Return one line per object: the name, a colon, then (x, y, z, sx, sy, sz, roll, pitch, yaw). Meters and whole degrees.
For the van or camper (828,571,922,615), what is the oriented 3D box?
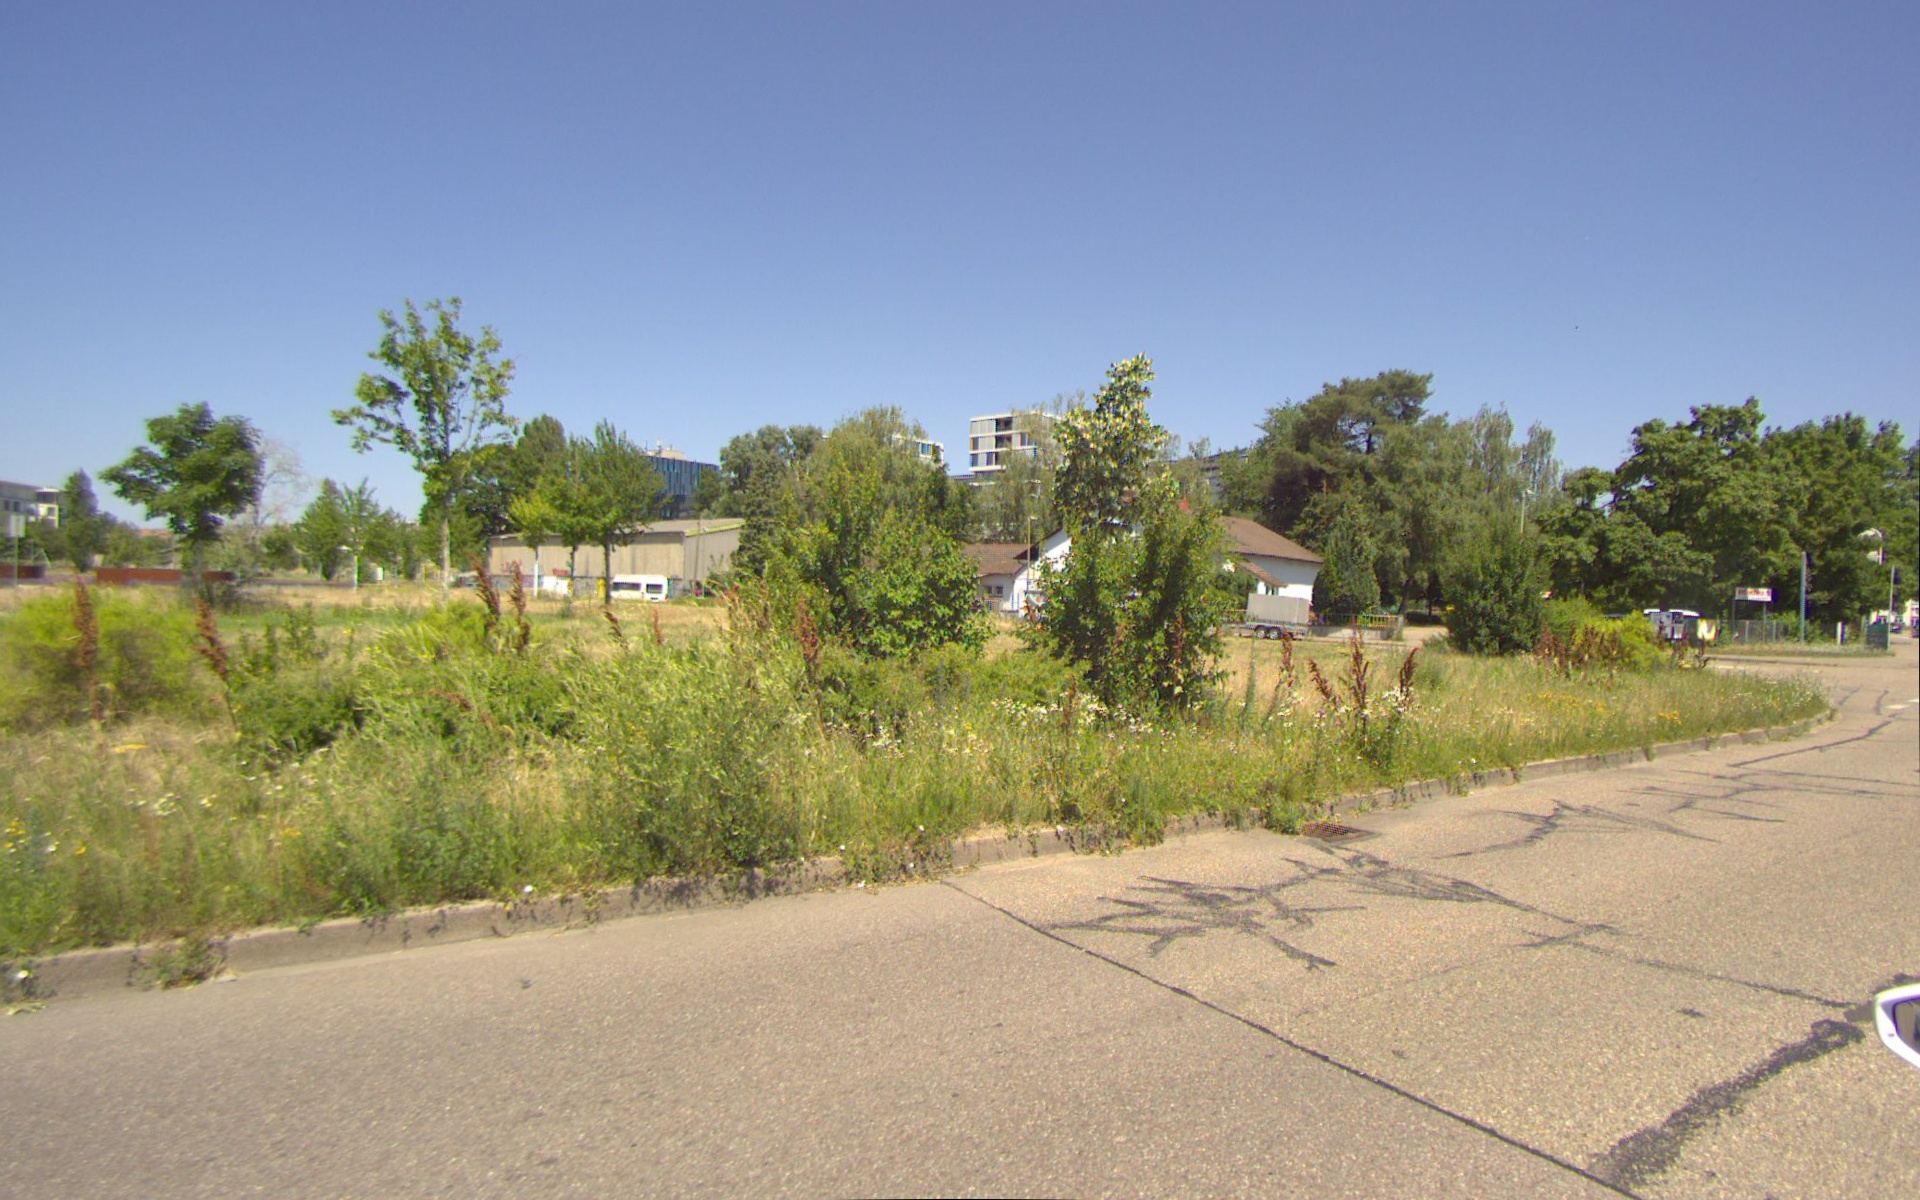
van or camper: (-5.453, -0.456, 63.849, 5.879, 2.628, 2.460, 2, 0, 40)

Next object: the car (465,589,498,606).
car: (-47.704, -0.246, 100.186, 3.524, 1.618, 1.585, 2, 0, 38)

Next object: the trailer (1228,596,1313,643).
trailer: (14.632, 0.887, 47.344, 3.375, 2.073, 1.751, 2, 0, 42)

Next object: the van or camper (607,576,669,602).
van or camper: (-25.807, -0.908, 80.504, 4.980, 1.905, 2.349, 2, 0, 38)

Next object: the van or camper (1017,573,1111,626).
van or camper: (5.616, -0.043, 54.527, 4.401, 2.626, 2.480, 4, 2, 41)

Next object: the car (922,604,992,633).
car: (-0.180, 1.094, 59.626, 3.944, 1.573, 1.904, 2, 0, 44)

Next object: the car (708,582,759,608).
car: (-16.565, -0.348, 73.402, 3.524, 1.795, 1.750, 2, 0, 38)

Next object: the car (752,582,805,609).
car: (-12.638, -0.314, 69.819, 3.524, 1.795, 1.750, 2, 0, 38)

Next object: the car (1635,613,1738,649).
car: (34.855, 1.466, 48.242, 3.820, 1.546, 1.799, 1, 0, 43)

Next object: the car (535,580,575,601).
car: (-36.159, -0.839, 89.661, 3.524, 1.795, 1.750, 2, 0, 38)

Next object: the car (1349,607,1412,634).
car: (24.916, 1.191, 59.582, 3.098, 1.466, 1.536, 2, 0, 43)

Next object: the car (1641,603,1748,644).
car: (38.765, 1.198, 53.055, 1.769, 2.003, 4.266, 1, 0, -42)

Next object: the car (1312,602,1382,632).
car: (22.049, 0.979, 57.209, 3.298, 1.586, 1.763, 2, 0, 43)
